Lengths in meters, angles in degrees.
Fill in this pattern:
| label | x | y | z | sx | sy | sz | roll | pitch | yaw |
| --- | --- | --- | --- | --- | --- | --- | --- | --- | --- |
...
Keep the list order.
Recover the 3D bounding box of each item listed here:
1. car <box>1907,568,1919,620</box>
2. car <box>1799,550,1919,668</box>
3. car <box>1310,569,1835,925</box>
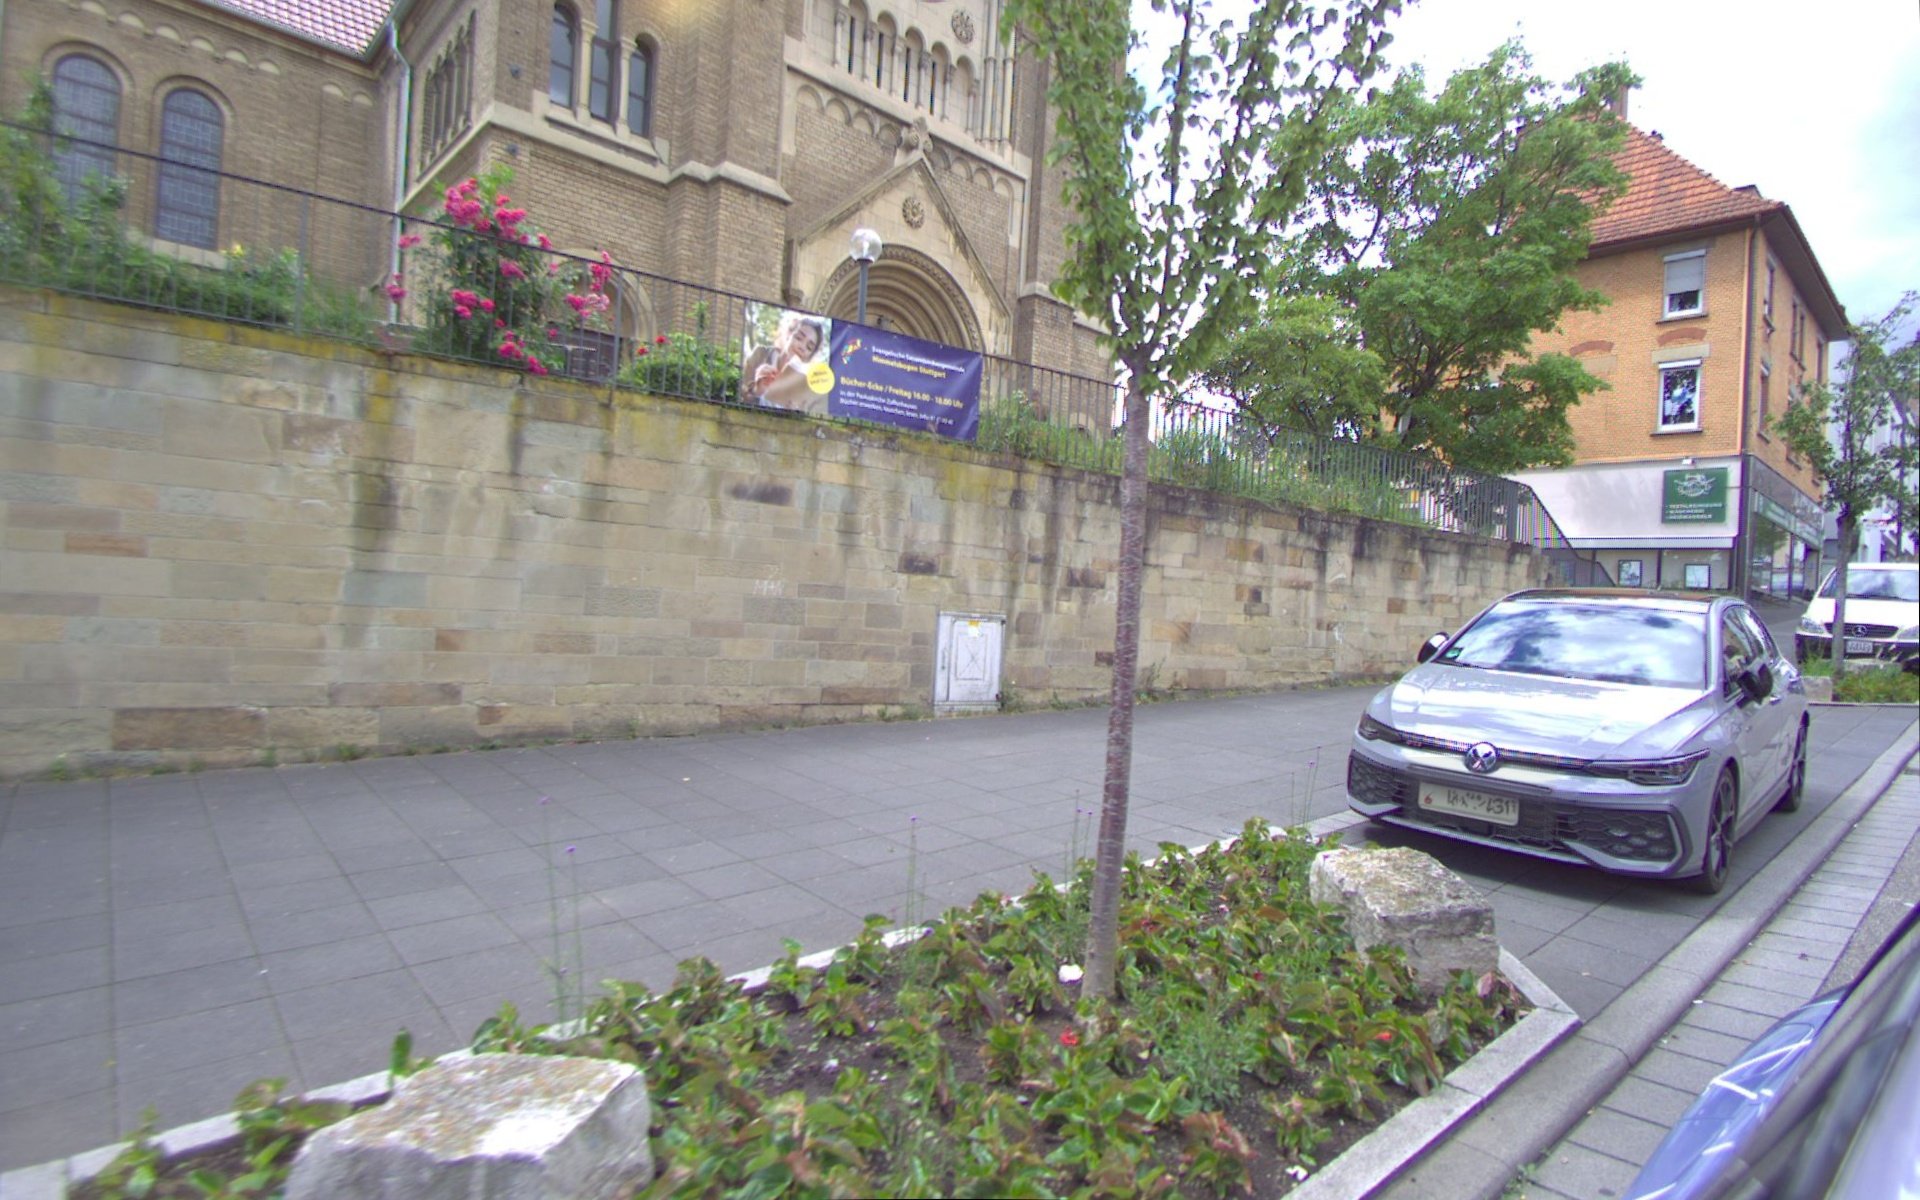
| label | x | y | z | sx | sy | sz | roll | pitch | yaw |
| --- | --- | --- | --- | --- | --- | --- | --- | --- | --- |
| car | 29.341 | -0.154 | 29.774 | 3.879 | 1.465 | 1.815 | -2 | 5 | -43 |
| car | 16.914 | 0.085 | 18.047 | 4.938 | 1.870 | 1.891 | -1 | 3 | -37 |
| car | 3.981 | 0.560 | 6.275 | 4.021 | 1.458 | 1.757 | -1 | 3 | -43 |
